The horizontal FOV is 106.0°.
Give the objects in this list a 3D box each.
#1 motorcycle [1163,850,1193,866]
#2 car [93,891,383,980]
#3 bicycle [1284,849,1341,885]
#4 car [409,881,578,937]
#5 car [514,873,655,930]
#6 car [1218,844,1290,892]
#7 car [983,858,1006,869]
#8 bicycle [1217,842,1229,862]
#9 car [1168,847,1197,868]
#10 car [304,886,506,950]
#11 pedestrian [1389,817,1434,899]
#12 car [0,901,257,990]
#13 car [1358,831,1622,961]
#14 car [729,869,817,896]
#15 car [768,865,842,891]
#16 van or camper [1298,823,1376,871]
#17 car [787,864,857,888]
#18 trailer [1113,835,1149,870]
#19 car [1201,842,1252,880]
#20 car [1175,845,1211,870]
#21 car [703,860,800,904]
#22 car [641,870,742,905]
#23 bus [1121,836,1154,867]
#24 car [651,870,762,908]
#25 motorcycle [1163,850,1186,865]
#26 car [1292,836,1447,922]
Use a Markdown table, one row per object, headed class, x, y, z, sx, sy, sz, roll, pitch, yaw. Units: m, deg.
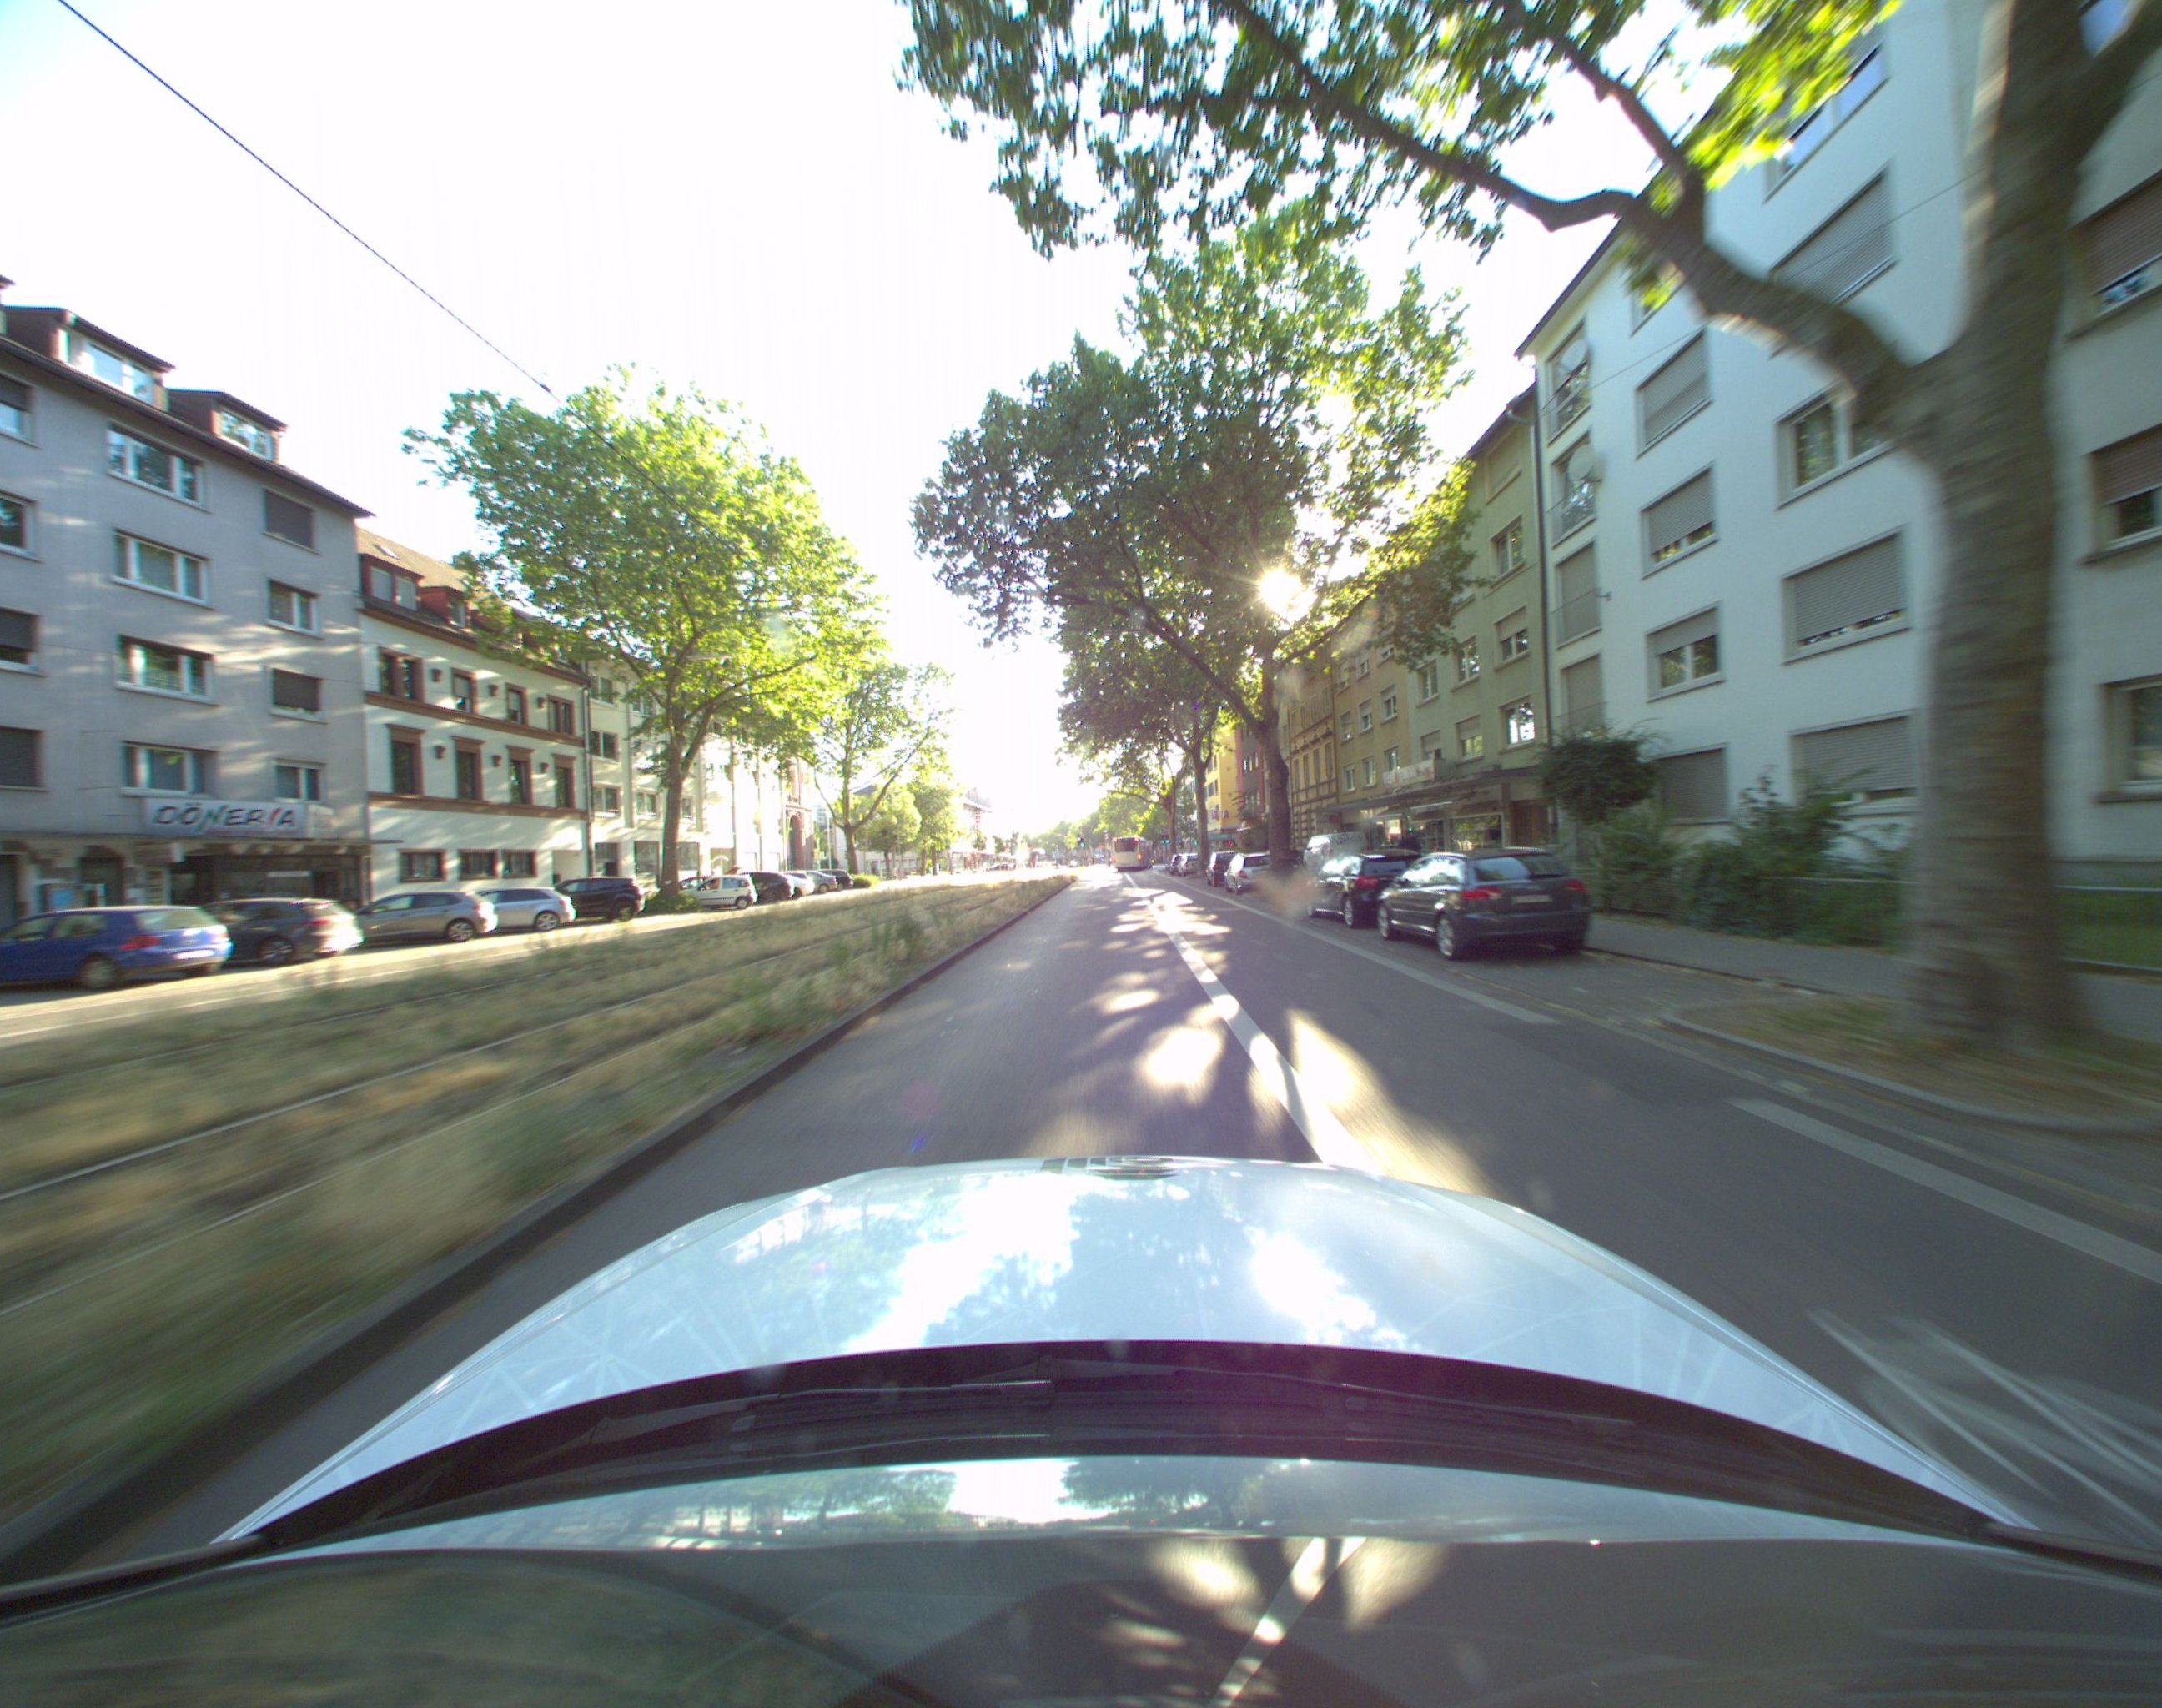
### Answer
| class | x | y | z | sx | sy | sz | roll | pitch | yaw |
| --- | --- | --- | --- | --- | --- | --- | --- | --- | --- |
| motorcycle | 7.637 | 0.323 | 64.219 | 2.213 | 1.063 | 0.762 | -5 | 1 | -20 |
| car | -18.505 | 1.743 | 18.110 | 3.990 | 1.492 | 1.943 | -3 | 0 | -12 |
| bicycle | 7.591 | 0.414 | 26.850 | 0.771 | 1.131 | 2.069 | -1 | 0 | -19 |
| car | -18.108 | 1.630 | 25.180 | 4.022 | 1.385 | 1.889 | -2 | 1 | -43 |
| car | -17.597 | 1.626 | 28.944 | 4.020 | 1.660 | 1.977 | -2 | 1 | -39 |
| car | 6.285 | 0.465 | 30.063 | 1.688 | 1.542 | 4.779 | -3 | 0 | 1 |
| car | -16.544 | 1.852 | 155.467 | 4.005 | 1.816 | 1.984 | -3 | 0 | -24 |
| bicycle | 10.568 | -0.154 | 60.621 | 0.604 | 1.426 | 2.398 | -1 | 0 | 3 |
| car | 7.297 | 0.218 | 58.878 | 1.703 | 1.396 | 4.325 | -3 | 0 | 3 |
| car | -18.238 | 1.687 | 22.236 | 4.014 | 1.422 | 1.739 | -1 | 0 | -32 |
| pedestrian | 8.476 | 0.102 | 20.919 | 0.680 | 2.013 | 1.012 | -3 | 0 | 1 |
| car | -18.422 | 1.668 | 15.251 | 3.976 | 1.420 | 1.856 | -1 | 0 | -2 |
| car | 5.654 | 0.500 | 11.972 | 1.702 | 1.415 | 4.366 | -5 | 0 | 2 |
| car | -16.849 | 1.541 | 44.650 | 4.222 | 1.333 | 1.704 | -1 | 0 | -34 |
| car | -17.108 | 1.472 | 50.499 | 4.020 | 1.441 | 1.702 | -1 | 0 | -39 |
| van or camper | 11.641 | -0.319 | 37.440 | 1.935 | 1.922 | 5.393 | -3 | 0 | 1 |
| car | -17.034 | 1.425 | 53.617 | 4.021 | 1.479 | 1.796 | -1 | 0 | -41 |
| trailer | 4.854 | -0.174 | 77.280 | 2.797 | 3.110 | 8.812 | -1 | 0 | 7 |
| car | 6.702 | 0.301 | 37.813 | 1.647 | 1.545 | 4.001 | -3 | 0 | 1 |
| car | 7.207 | 0.223 | 52.607 | 1.668 | 1.451 | 4.571 | -3 | 0 | 0 |
| car | -16.722 | 1.382 | 41.412 | 4.371 | 1.786 | 1.978 | -5 | 0 | -24 |
| car | -18.048 | 1.532 | 37.934 | 3.998 | 1.479 | 1.766 | -1 | 0 | -18 |
| bus | 6.056 | -0.229 | 86.168 | 2.796 | 3.101 | 9.113 | -1 | 0 | 7 |
| car | -16.658 | 1.539 | 36.346 | 4.371 | 1.449 | 1.646 | -2 | 0 | -25 |
| motorcycle | 7.643 | 0.299 | 66.397 | 2.009 | 1.152 | 0.594 | -3 | 0 | -40 |
| car | 5.762 | 0.451 | 16.864 | 1.702 | 1.415 | 4.366 | -5 | 0 | 2 |
